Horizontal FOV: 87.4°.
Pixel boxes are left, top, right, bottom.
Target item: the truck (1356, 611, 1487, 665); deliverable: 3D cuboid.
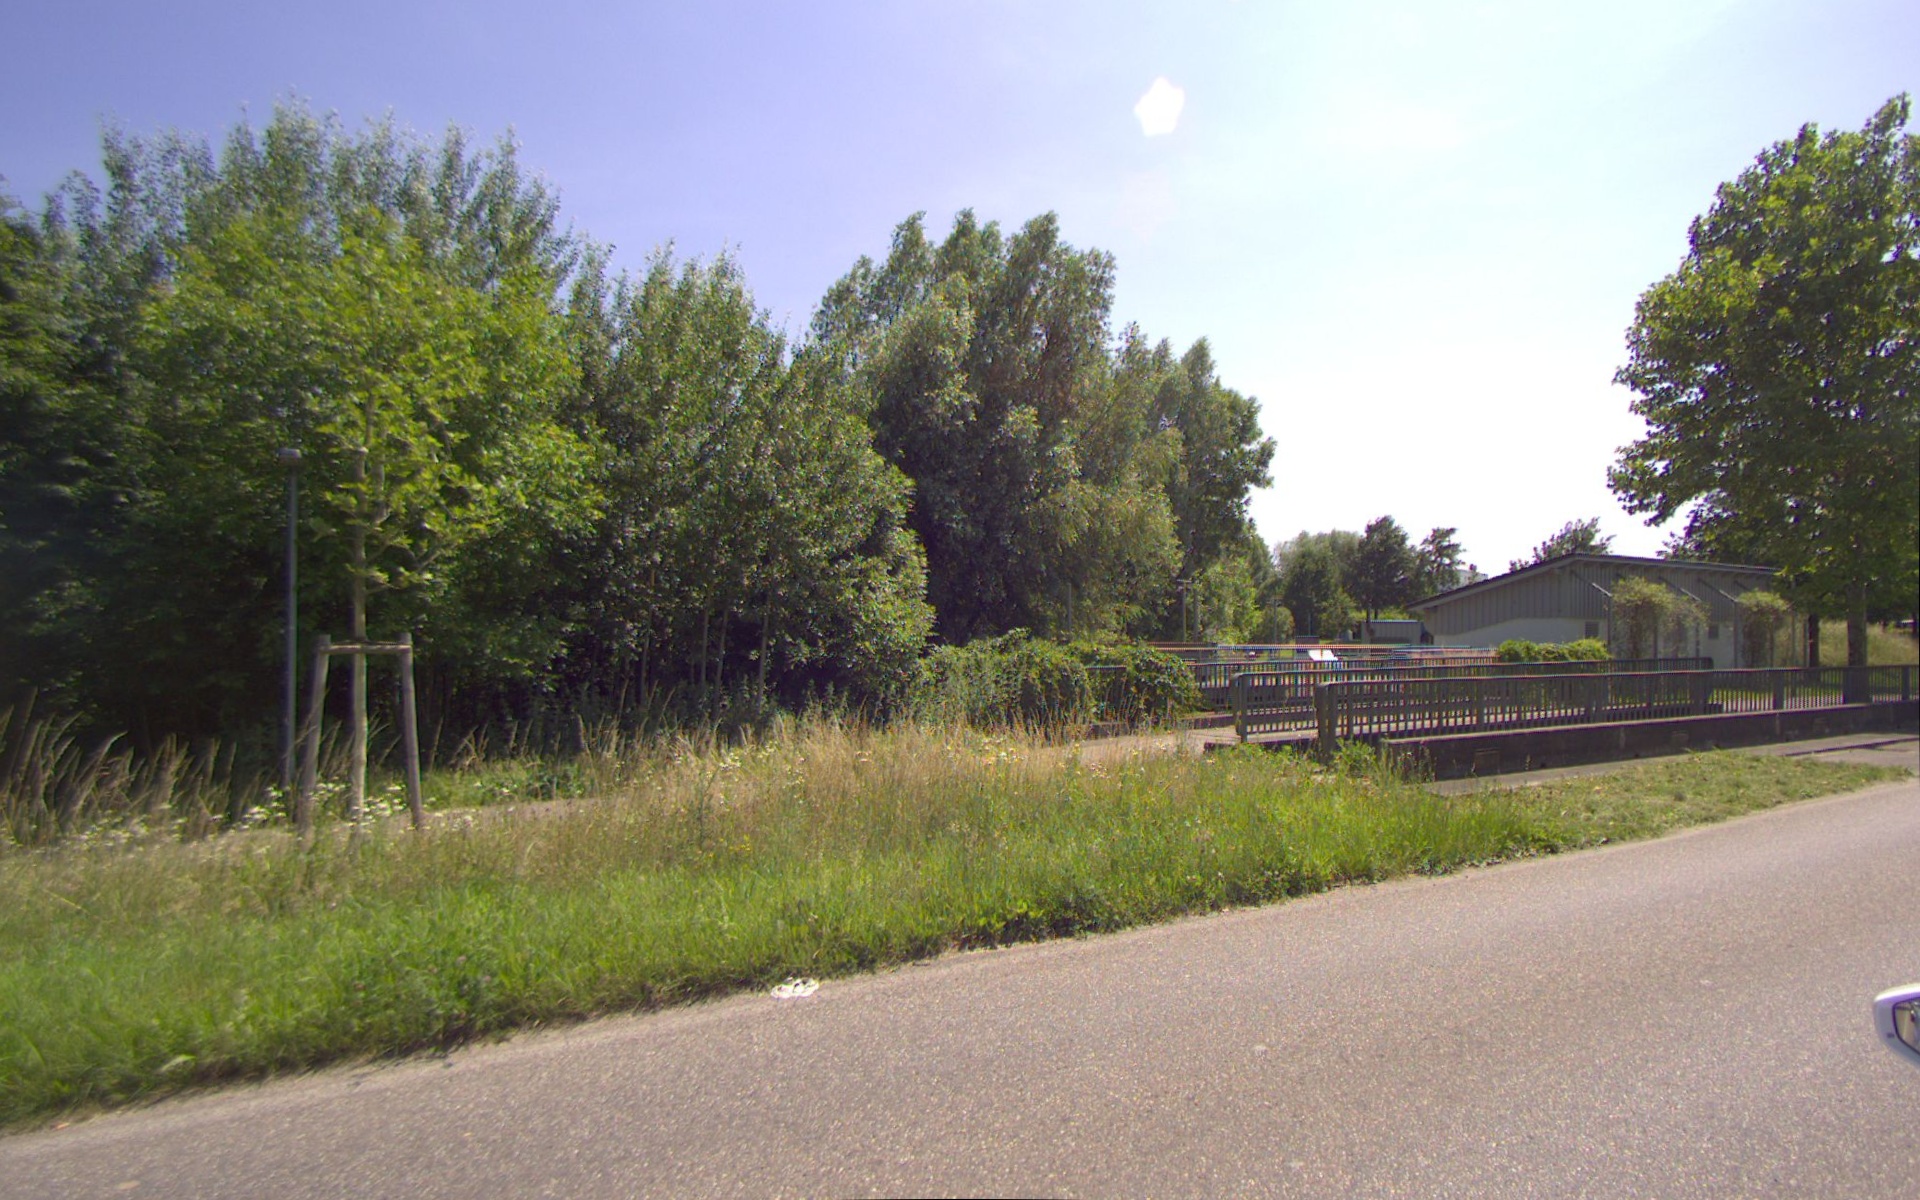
[{"bbox_3d":[20.671,1.668,45.015,5.111,2.246,2.972,1,-1,-31],"label":"truck"}]
